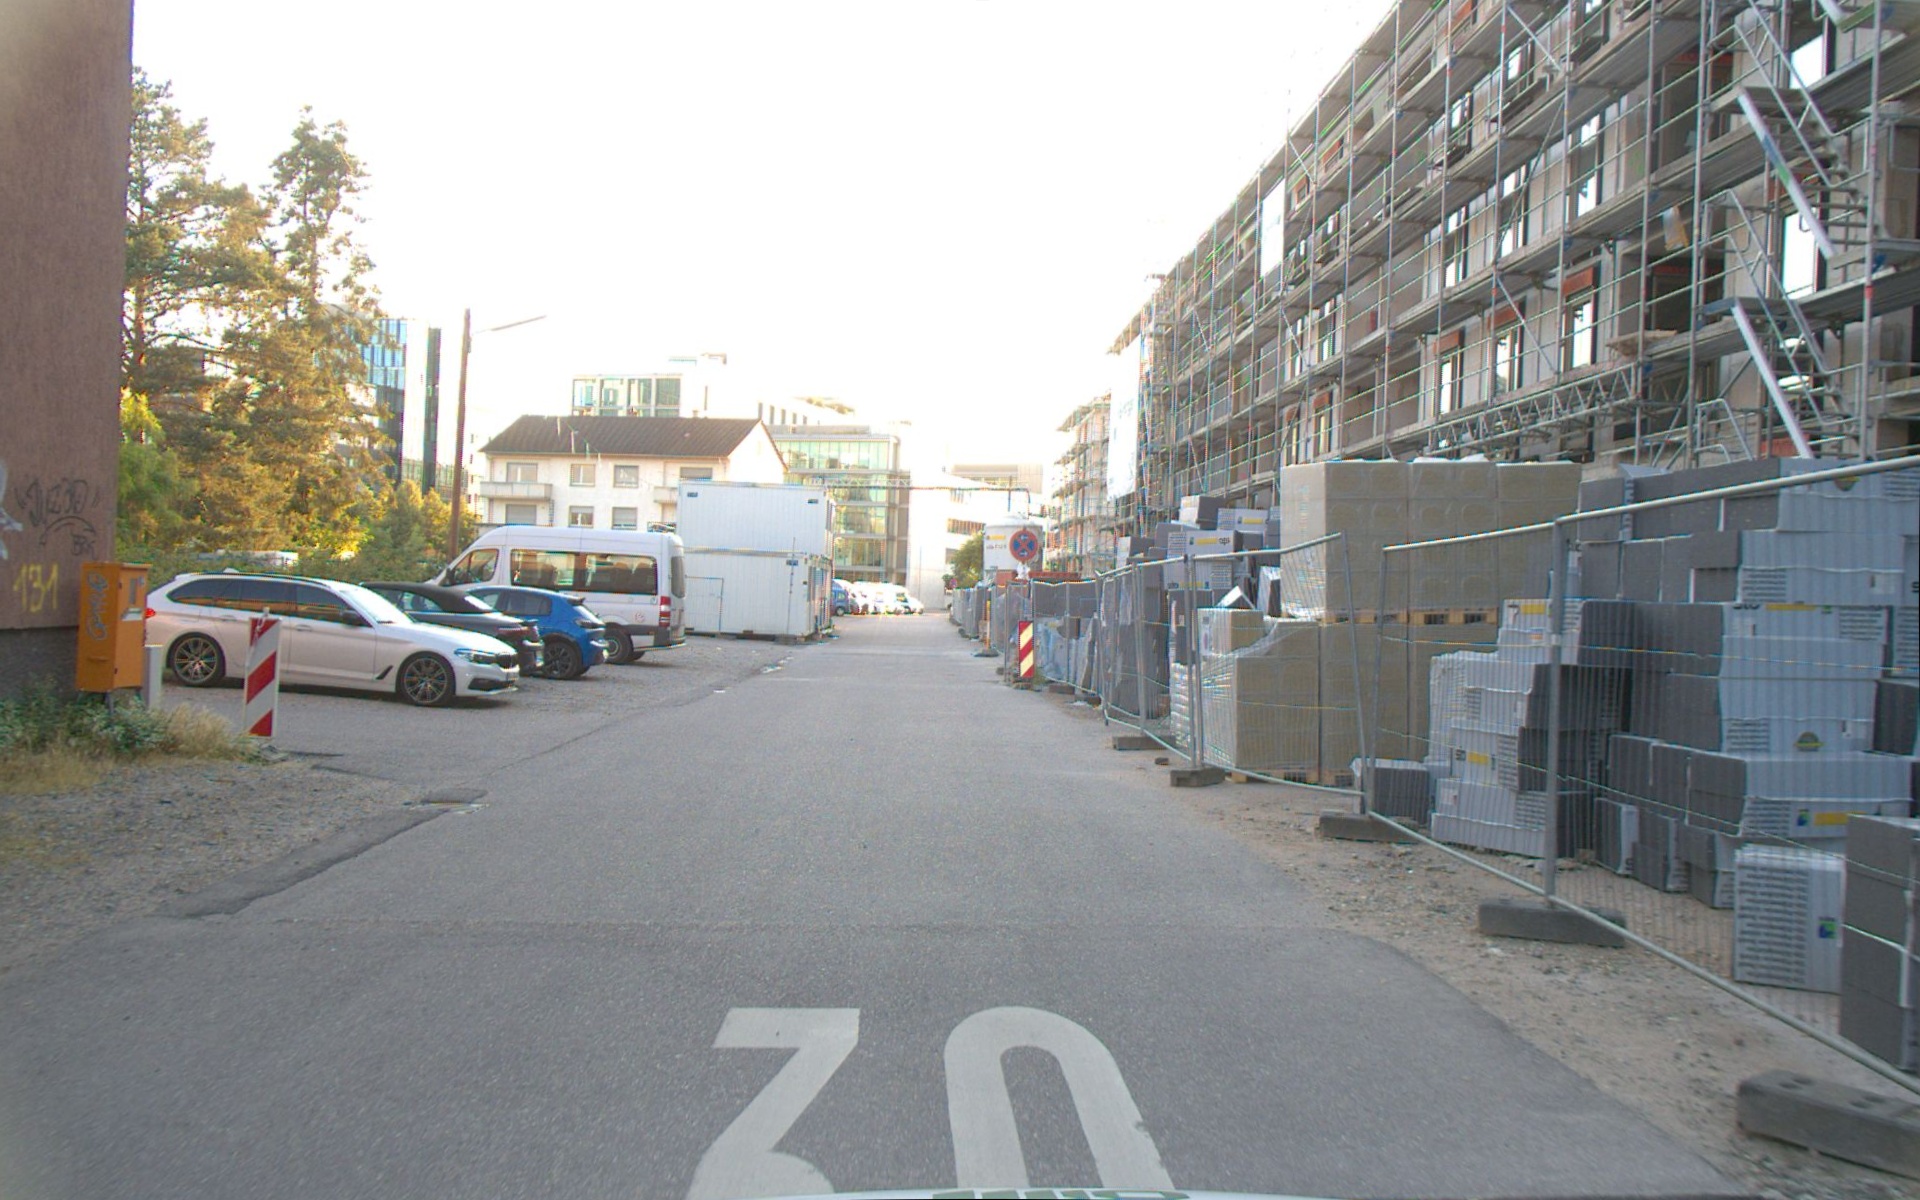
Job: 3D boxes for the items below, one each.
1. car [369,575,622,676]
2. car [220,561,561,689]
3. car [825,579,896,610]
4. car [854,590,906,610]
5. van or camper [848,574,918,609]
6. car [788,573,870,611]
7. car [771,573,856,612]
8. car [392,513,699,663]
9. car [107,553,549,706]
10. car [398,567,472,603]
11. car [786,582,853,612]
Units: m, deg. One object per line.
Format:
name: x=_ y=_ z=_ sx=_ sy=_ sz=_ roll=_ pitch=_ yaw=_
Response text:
car: x=-7.768 y=0.426 z=27.931 sx=3.761 sy=1.454 sz=1.726 roll=3 pitch=0 yaw=-4
car: x=-8.213 y=0.353 z=24.166 sx=4.330 sy=1.571 sz=1.726 roll=3 pitch=0 yaw=-5
car: x=-8.693 y=-0.469 z=144.652 sx=5.797 sy=2.533 sz=2.002 roll=2 pitch=0 yaw=10
car: x=-7.386 y=0.029 z=152.798 sx=4.408 sy=1.676 sz=2.002 roll=2 pitch=0 yaw=7
van or camper: x=-7.347 y=-0.803 z=158.529 sx=6.198 sy=3.031 sz=2.294 roll=3 pitch=0 yaw=11
car: x=-10.218 y=-0.608 z=129.258 sx=6.199 sy=2.789 sz=2.000 roll=2 pitch=0 yaw=-1
car: x=-11.094 y=-0.562 z=125.369 sx=6.199 sy=2.697 sz=2.000 roll=2 pitch=0 yaw=-1
car: x=-8.379 y=-0.241 z=33.864 sx=5.573 sy=2.672 sz=2.222 roll=3 pitch=0 yaw=0
car: x=-8.180 y=0.367 z=21.783 sx=4.892 sy=1.571 sz=2.116 roll=4 pitch=0 yaw=0
car: x=-32.278 y=-0.897 z=101.894 sx=2.259 sy=2.049 sz=5.062 roll=2 pitch=0 yaw=8
car: x=-9.473 y=-0.193 z=111.574 sx=4.418 sy=1.901 sz=1.997 roll=2 pitch=0 yaw=-7
